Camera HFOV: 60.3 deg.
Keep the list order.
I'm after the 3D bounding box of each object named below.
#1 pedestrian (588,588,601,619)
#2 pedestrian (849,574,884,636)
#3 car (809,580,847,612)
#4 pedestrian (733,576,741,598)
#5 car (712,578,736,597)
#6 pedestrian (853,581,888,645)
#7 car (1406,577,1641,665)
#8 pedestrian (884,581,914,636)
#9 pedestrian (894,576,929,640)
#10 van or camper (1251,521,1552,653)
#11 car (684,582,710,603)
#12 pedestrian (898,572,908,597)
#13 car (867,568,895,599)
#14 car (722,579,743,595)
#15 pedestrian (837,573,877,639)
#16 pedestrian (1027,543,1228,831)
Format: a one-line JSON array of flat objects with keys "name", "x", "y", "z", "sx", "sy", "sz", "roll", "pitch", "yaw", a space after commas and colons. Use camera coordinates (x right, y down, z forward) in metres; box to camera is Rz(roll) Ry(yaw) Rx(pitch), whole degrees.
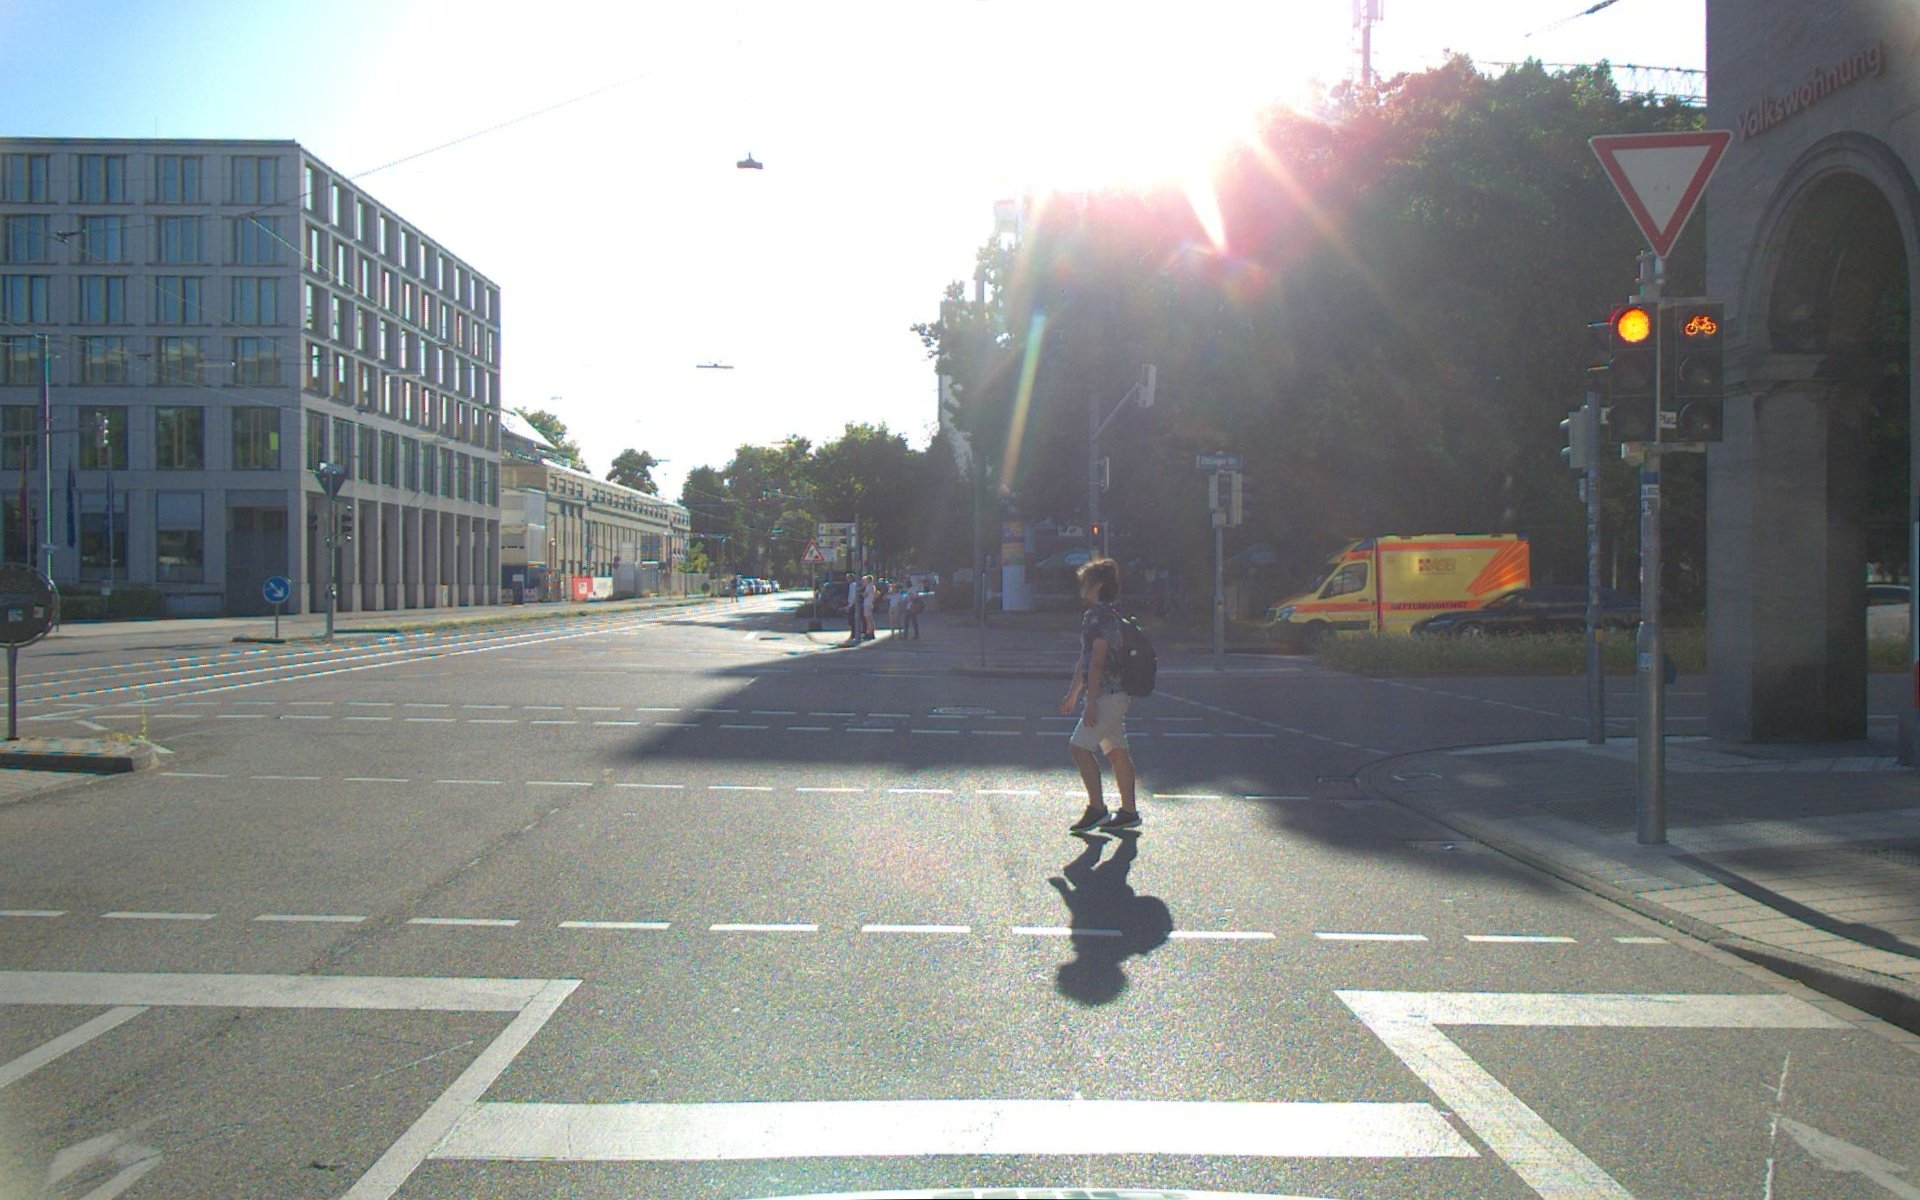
[{"name": "pedestrian", "x": -15.883, "y": 0.139, "z": 71.867, "sx": 0.501, "sy": 1.352, "sz": 0.369, "roll": 0, "pitch": 0, "yaw": 1}, {"name": "pedestrian", "x": -2.751, "y": 0.143, "z": 48.604, "sx": 0.834, "sy": 1.815, "sz": 0.776, "roll": -1, "pitch": 0, "yaw": -17}, {"name": "car", "x": -6.682, "y": -0.174, "z": 83.751, "sx": 1.650, "sy": 1.527, "sz": 3.508, "roll": 1, "pitch": 0, "yaw": -1}, {"name": "pedestrian", "x": -15.471, "y": -0.887, "z": 114.734, "sx": 0.513, "sy": 1.510, "sz": 0.437, "roll": 1, "pitch": -1, "yaw": -2}, {"name": "car", "x": -22.364, "y": -1.188, "z": 156.942, "sx": 1.782, "sy": 1.742, "sz": 3.805, "roll": -1, "pitch": 0, "yaw": -1}, {"name": "pedestrian", "x": -2.587, "y": 0.370, "z": 47.740, "sx": 0.834, "sy": 1.815, "sz": 0.776, "roll": -1, "pitch": 0, "yaw": -17}, {"name": "car", "x": 11.627, "y": 0.430, "z": 34.336, "sx": 4.226, "sy": 1.676, "sz": 1.888, "roll": 1, "pitch": -1, "yaw": -1}, {"name": "pedestrian", "x": -1.768, "y": 0.246, "z": 47.968, "sx": 0.750, "sy": 1.586, "sz": 0.585, "roll": -1, "pitch": 0, "yaw": -17}, {"name": "pedestrian", "x": -1.385, "y": 0.221, "z": 47.281, "sx": 0.834, "sy": 1.815, "sz": 0.776, "roll": -1, "pitch": 0, "yaw": -17}, {"name": "van or camper", "x": 10.539, "y": -0.295, "z": 40.040, "sx": 6.567, "sy": 2.911, "sz": 2.912, "roll": 1, "pitch": -1, "yaw": 3}, {"name": "car", "x": -23.048, "y": -0.674, "z": 145.056, "sx": 1.782, "sy": 1.742, "sz": 3.805, "roll": -1, "pitch": 0, "yaw": -1}, {"name": "pedestrian", "x": -8.536, "y": -2.368, "z": 246.909, "sx": 1.373, "sy": 3.659, "sz": 1.567, "roll": 1, "pitch": -1, "yaw": -1}, {"name": "car", "x": -5.185, "y": -1.073, "z": 109.086, "sx": 1.650, "sy": 1.996, "sz": 3.508, "roll": 1, "pitch": 0, "yaw": -1}, {"name": "car", "x": -22.122, "y": -1.309, "z": 160.856, "sx": 1.577, "sy": 1.524, "sz": 3.805, "roll": -1, "pitch": 0, "yaw": -1}, {"name": "pedestrian", "x": -2.876, "y": 0.172, "z": 46.167, "sx": 0.950, "sy": 1.815, "sz": 0.776, "roll": -1, "pitch": 0, "yaw": -17}, {"name": "pedestrian", "x": 1.059, "y": 0.524, "z": 10.712, "sx": 1.021, "sy": 1.751, "sz": 1.032, "roll": -1, "pitch": 0, "yaw": -12}]
